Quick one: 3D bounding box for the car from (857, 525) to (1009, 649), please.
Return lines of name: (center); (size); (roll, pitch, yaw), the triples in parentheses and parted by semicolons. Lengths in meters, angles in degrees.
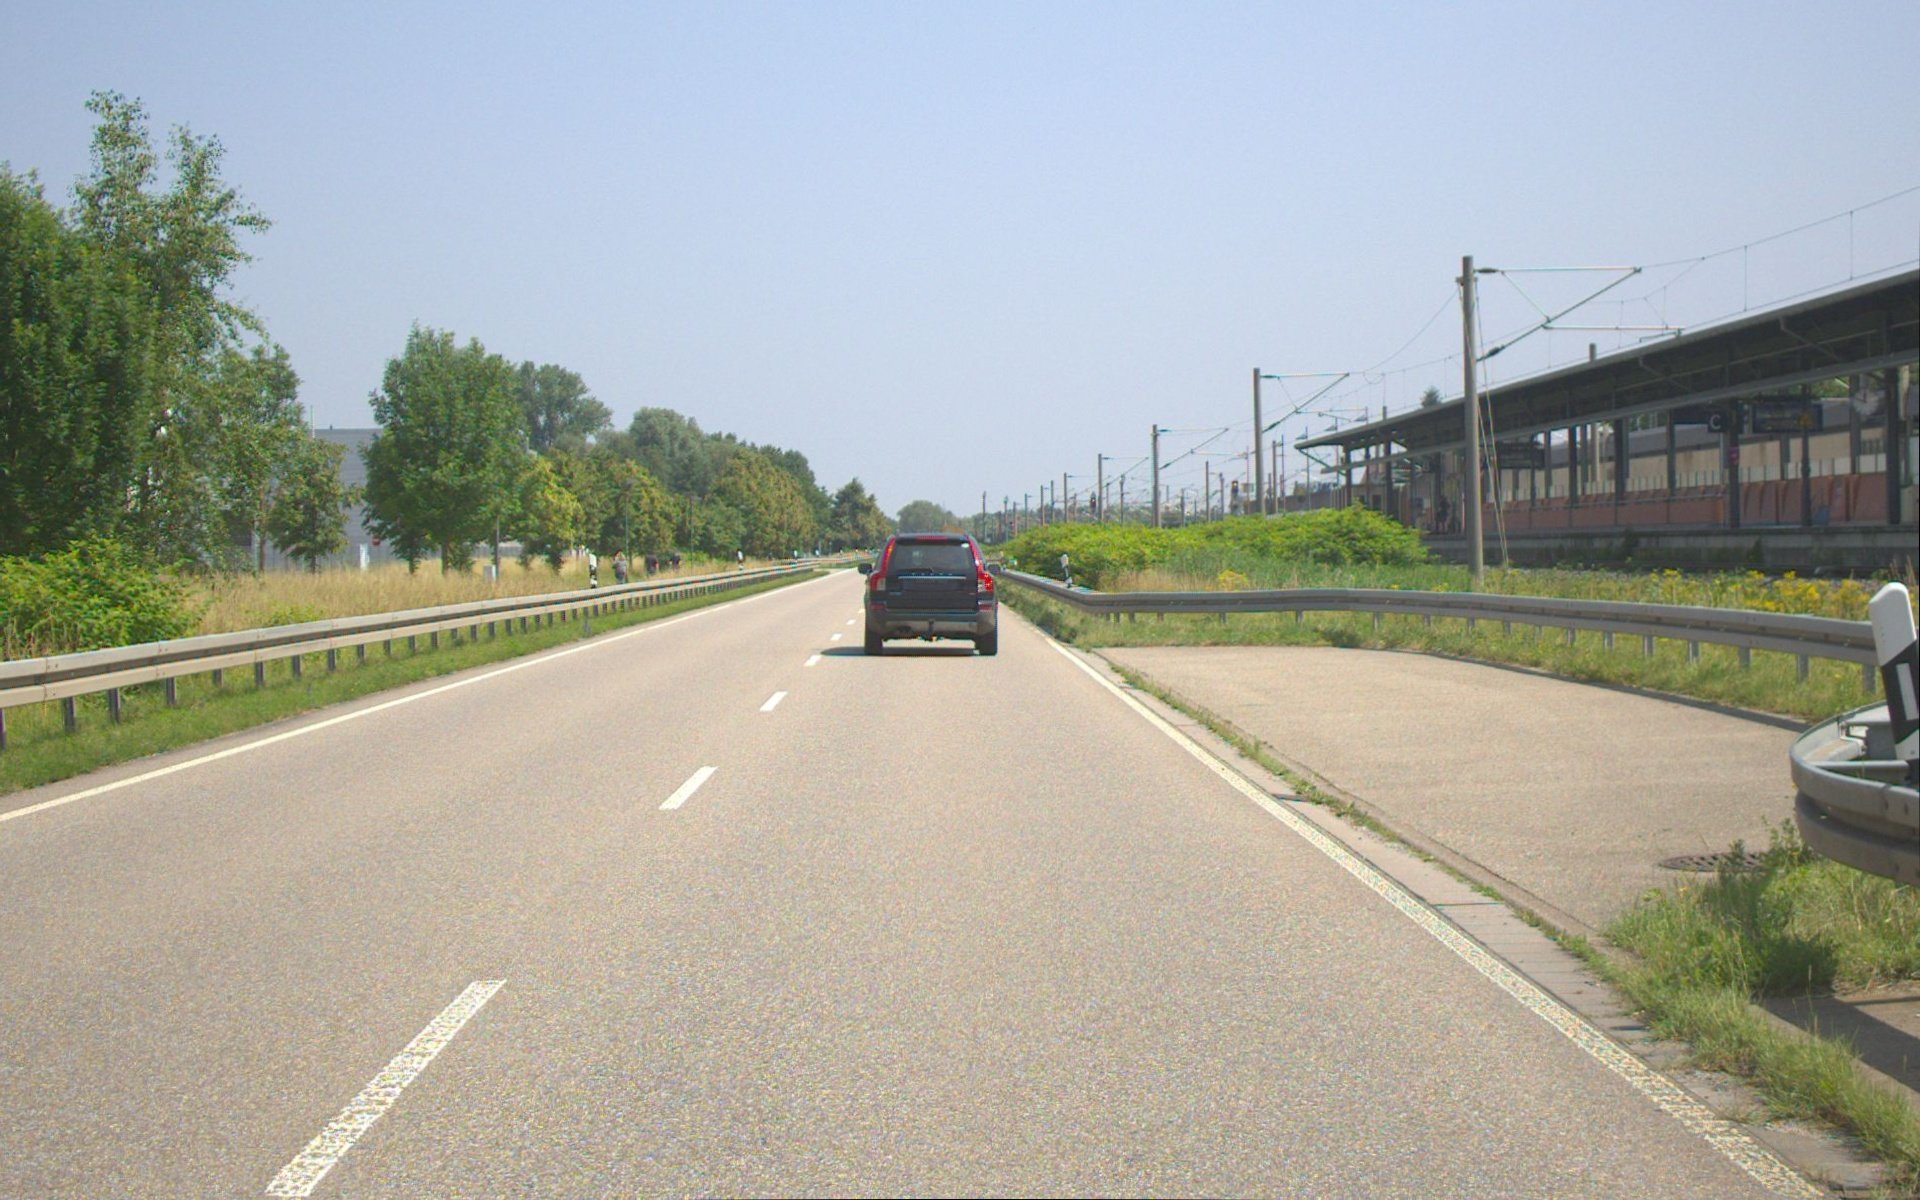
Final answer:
car: (-0.431, -0.222, 49.196); (1.993, 1.694, 4.001); (0, 1, -3)
